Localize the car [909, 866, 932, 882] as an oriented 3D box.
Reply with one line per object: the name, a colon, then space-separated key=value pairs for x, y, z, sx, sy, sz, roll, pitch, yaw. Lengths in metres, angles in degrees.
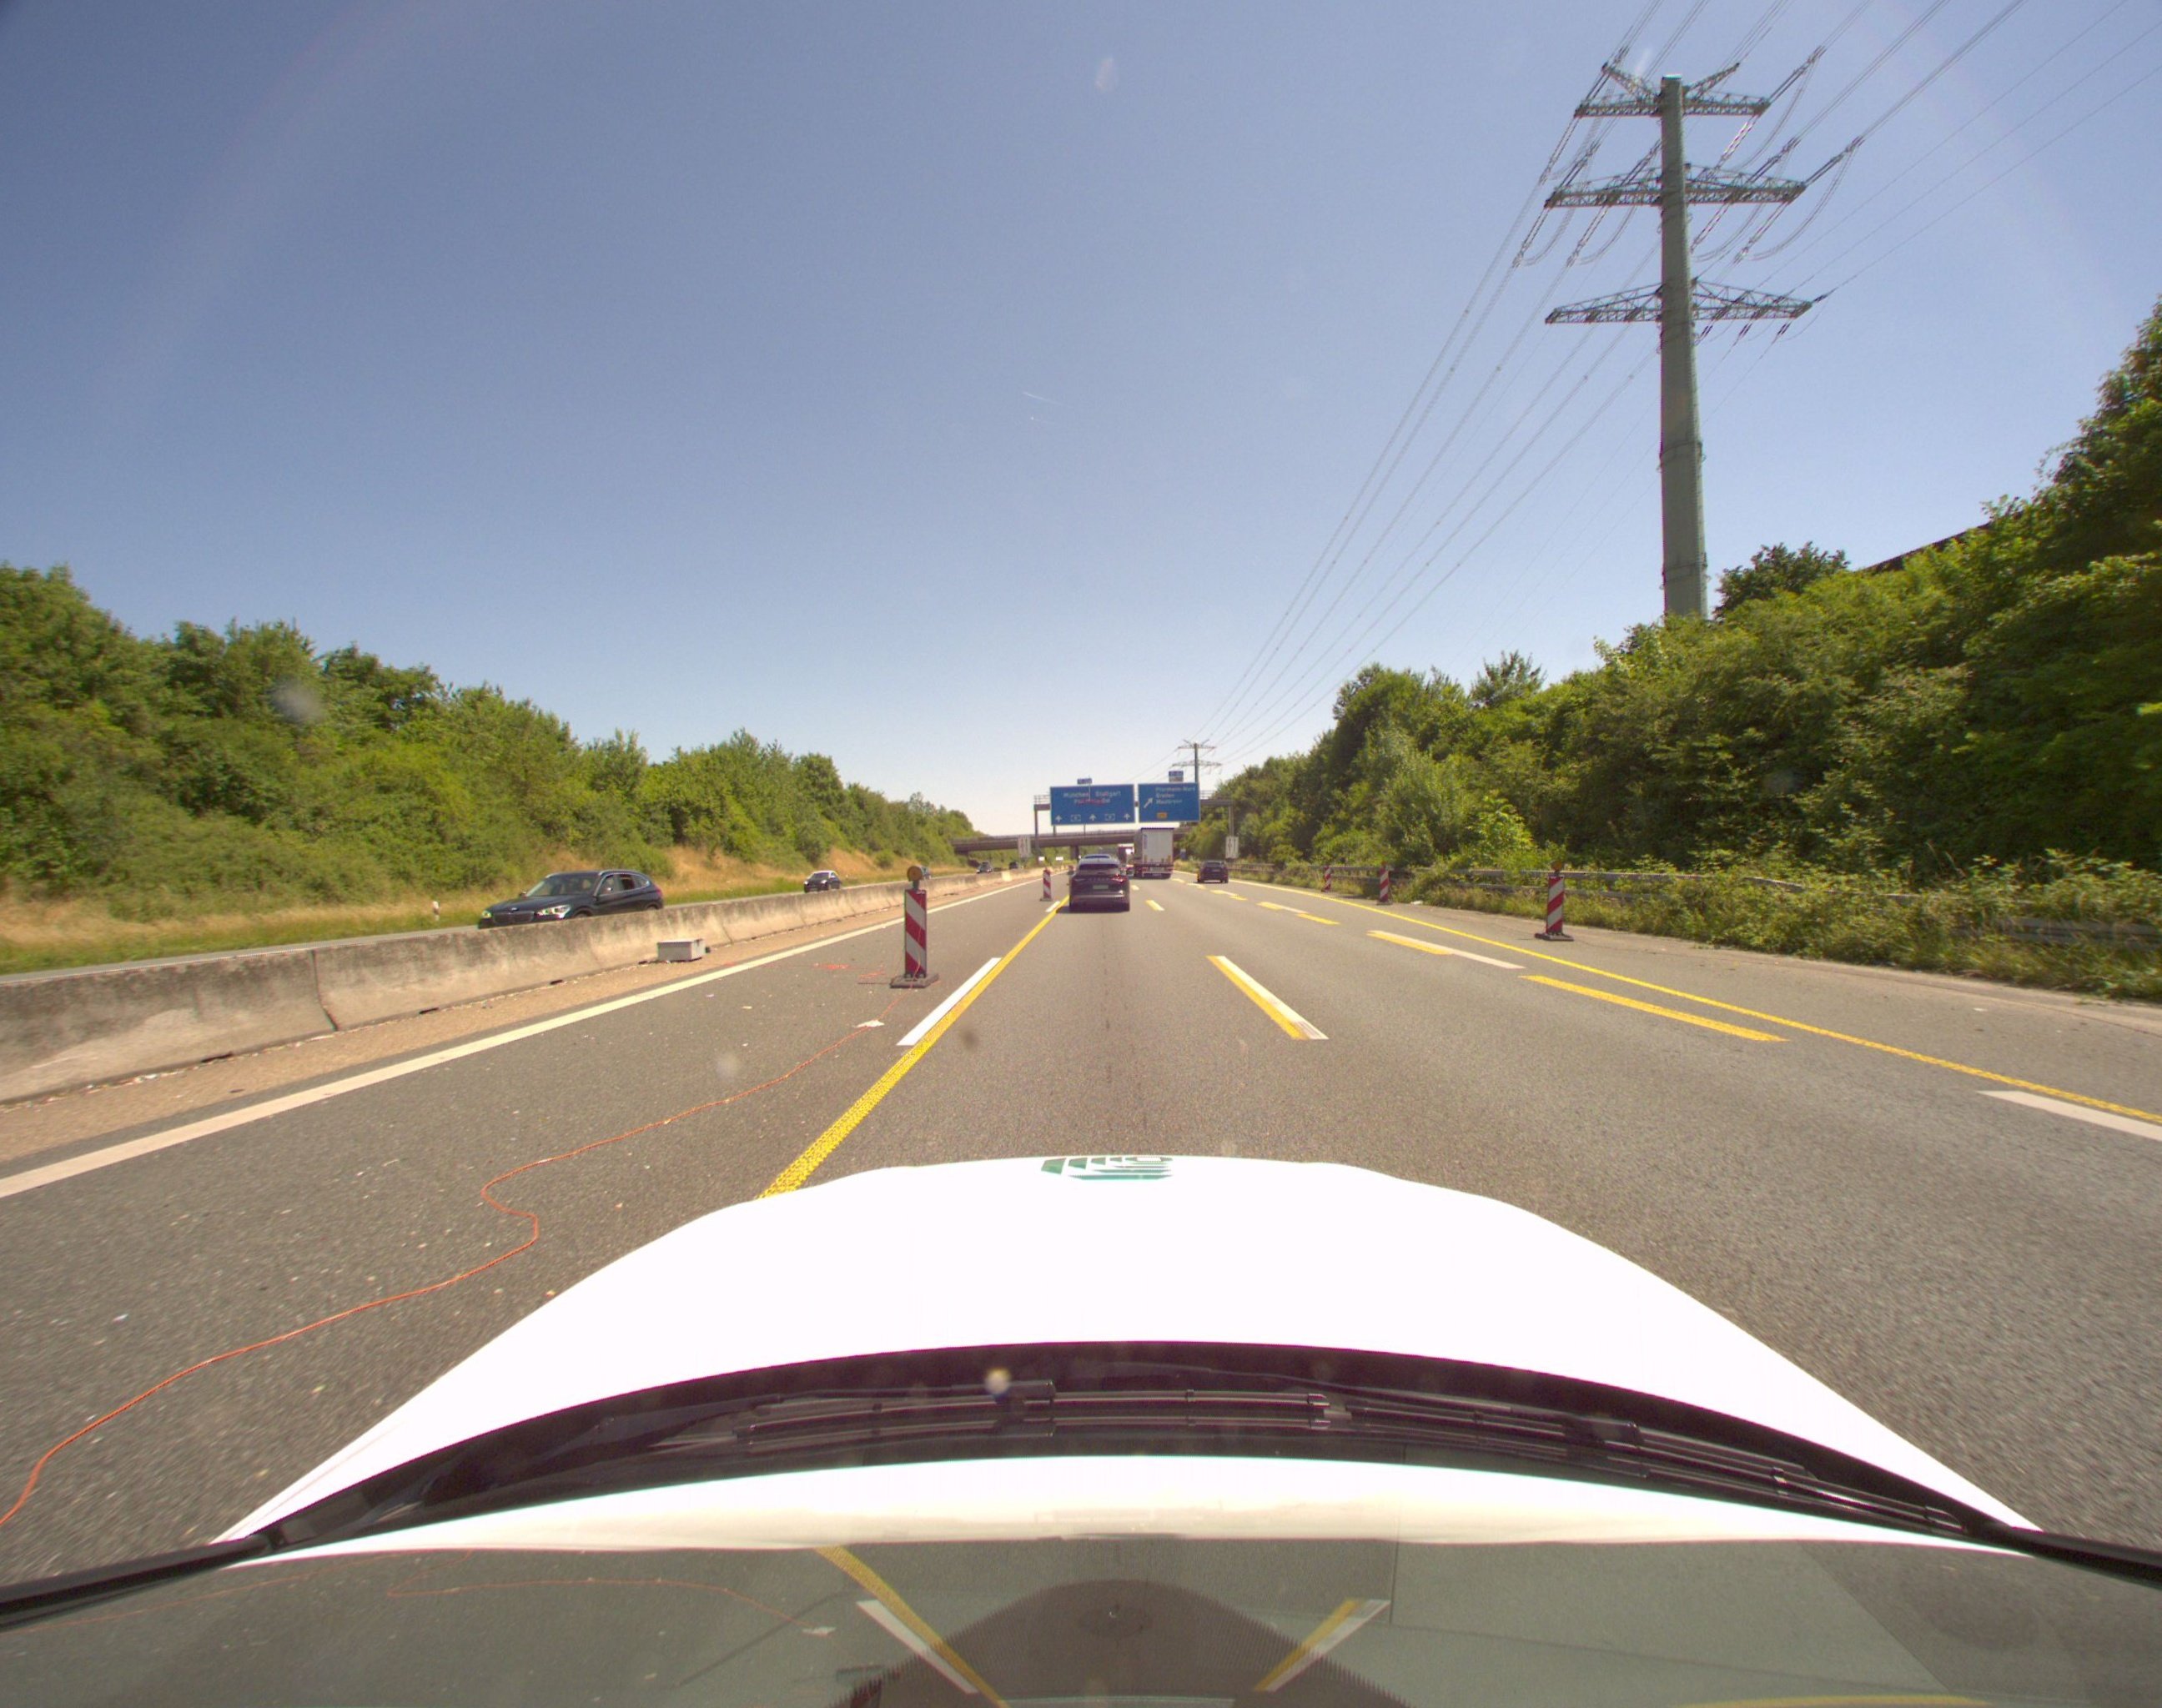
car: x=-16.768 y=2.076 z=85.154 sx=1.494 sy=1.548 sz=4.002 roll=-2 pitch=-1 yaw=2

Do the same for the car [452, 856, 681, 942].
car: x=-11.055 y=0.885 z=17.996 sx=1.986 sy=1.600 sz=4.584 roll=-2 pitch=-1 yaw=2

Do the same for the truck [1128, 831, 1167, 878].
truck: x=6.054 y=0.065 z=75.794 sx=3.015 sy=4.087 sz=7.795 roll=-1 pitch=0 yaw=0

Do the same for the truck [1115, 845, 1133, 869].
truck: x=7.844 y=0.602 z=149.803 sx=3.065 sy=4.147 sz=13.062 roll=0 pitch=-1 yaw=3

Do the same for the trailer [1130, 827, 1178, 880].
trailer: x=5.997 y=-0.031 z=68.830 sx=3.055 sy=4.042 sz=11.486 roll=-1 pitch=0 yaw=0

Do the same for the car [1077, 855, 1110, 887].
car: x=0.766 y=1.049 z=50.288 sx=1.889 sy=1.842 sz=4.442 roll=3 pitch=-1 yaw=1

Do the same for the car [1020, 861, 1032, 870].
car: x=-10.523 y=2.149 z=156.804 sx=1.906 sy=1.753 sz=4.566 roll=-1 pitch=-1 yaw=1

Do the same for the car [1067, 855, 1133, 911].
car: x=0.572 y=0.837 z=25.708 sx=1.889 sy=1.592 sz=4.443 roll=-1 pitch=0 yaw=1

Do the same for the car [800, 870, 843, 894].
car: x=-17.658 y=1.861 z=55.570 sx=1.568 sy=1.464 sz=3.780 roll=-2 pitch=-1 yaw=2

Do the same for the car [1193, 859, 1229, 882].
car: x=8.483 y=1.067 z=53.548 sx=1.772 sy=1.489 sz=4.465 roll=0 pitch=-1 yaw=1

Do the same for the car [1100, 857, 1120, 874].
car: x=2.949 y=1.121 z=82.504 sx=1.889 sy=1.509 sz=4.443 roll=1 pitch=1 yaw=1

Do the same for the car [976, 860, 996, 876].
car: x=-11.360 y=1.710 z=97.585 sx=1.736 sy=1.818 sz=4.621 roll=-2 pitch=-1 yaw=0

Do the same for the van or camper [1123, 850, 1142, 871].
van or camper: x=7.140 y=0.897 z=113.827 sx=2.576 sy=2.968 sz=6.088 roll=0 pitch=0 yaw=3
